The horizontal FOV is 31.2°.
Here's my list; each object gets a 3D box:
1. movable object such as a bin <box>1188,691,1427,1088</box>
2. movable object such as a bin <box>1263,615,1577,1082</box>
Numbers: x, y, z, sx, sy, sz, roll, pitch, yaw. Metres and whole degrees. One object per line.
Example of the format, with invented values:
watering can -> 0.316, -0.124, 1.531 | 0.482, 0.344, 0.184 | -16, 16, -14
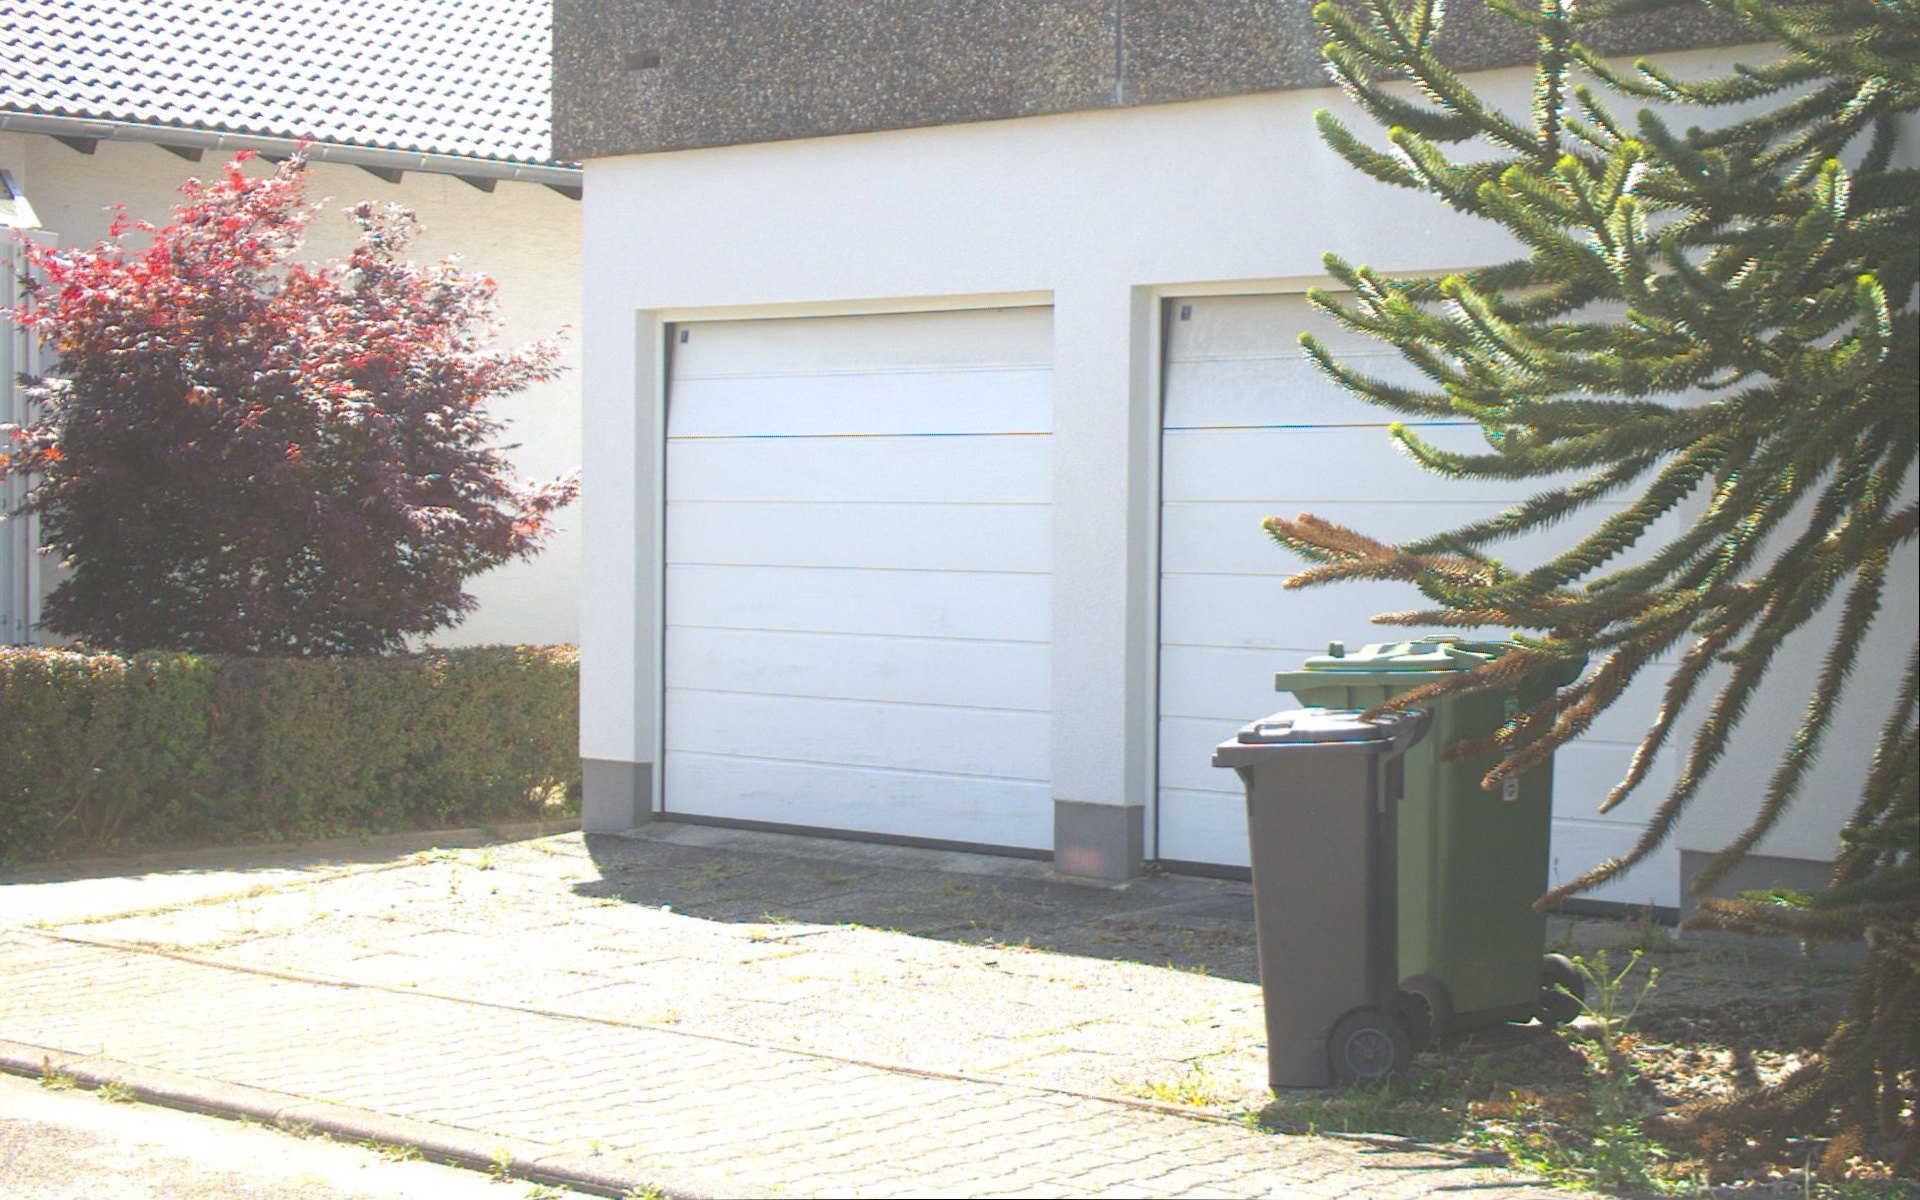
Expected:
movable object such as a bin -> 0.885, 0.722, 8.732 | 0.523, 0.946, 0.389 | 1, 1, 17
movable object such as a bin -> 1.259, 0.652, 9.420 | 0.633, 1.199, 0.550 | 2, 2, 44
